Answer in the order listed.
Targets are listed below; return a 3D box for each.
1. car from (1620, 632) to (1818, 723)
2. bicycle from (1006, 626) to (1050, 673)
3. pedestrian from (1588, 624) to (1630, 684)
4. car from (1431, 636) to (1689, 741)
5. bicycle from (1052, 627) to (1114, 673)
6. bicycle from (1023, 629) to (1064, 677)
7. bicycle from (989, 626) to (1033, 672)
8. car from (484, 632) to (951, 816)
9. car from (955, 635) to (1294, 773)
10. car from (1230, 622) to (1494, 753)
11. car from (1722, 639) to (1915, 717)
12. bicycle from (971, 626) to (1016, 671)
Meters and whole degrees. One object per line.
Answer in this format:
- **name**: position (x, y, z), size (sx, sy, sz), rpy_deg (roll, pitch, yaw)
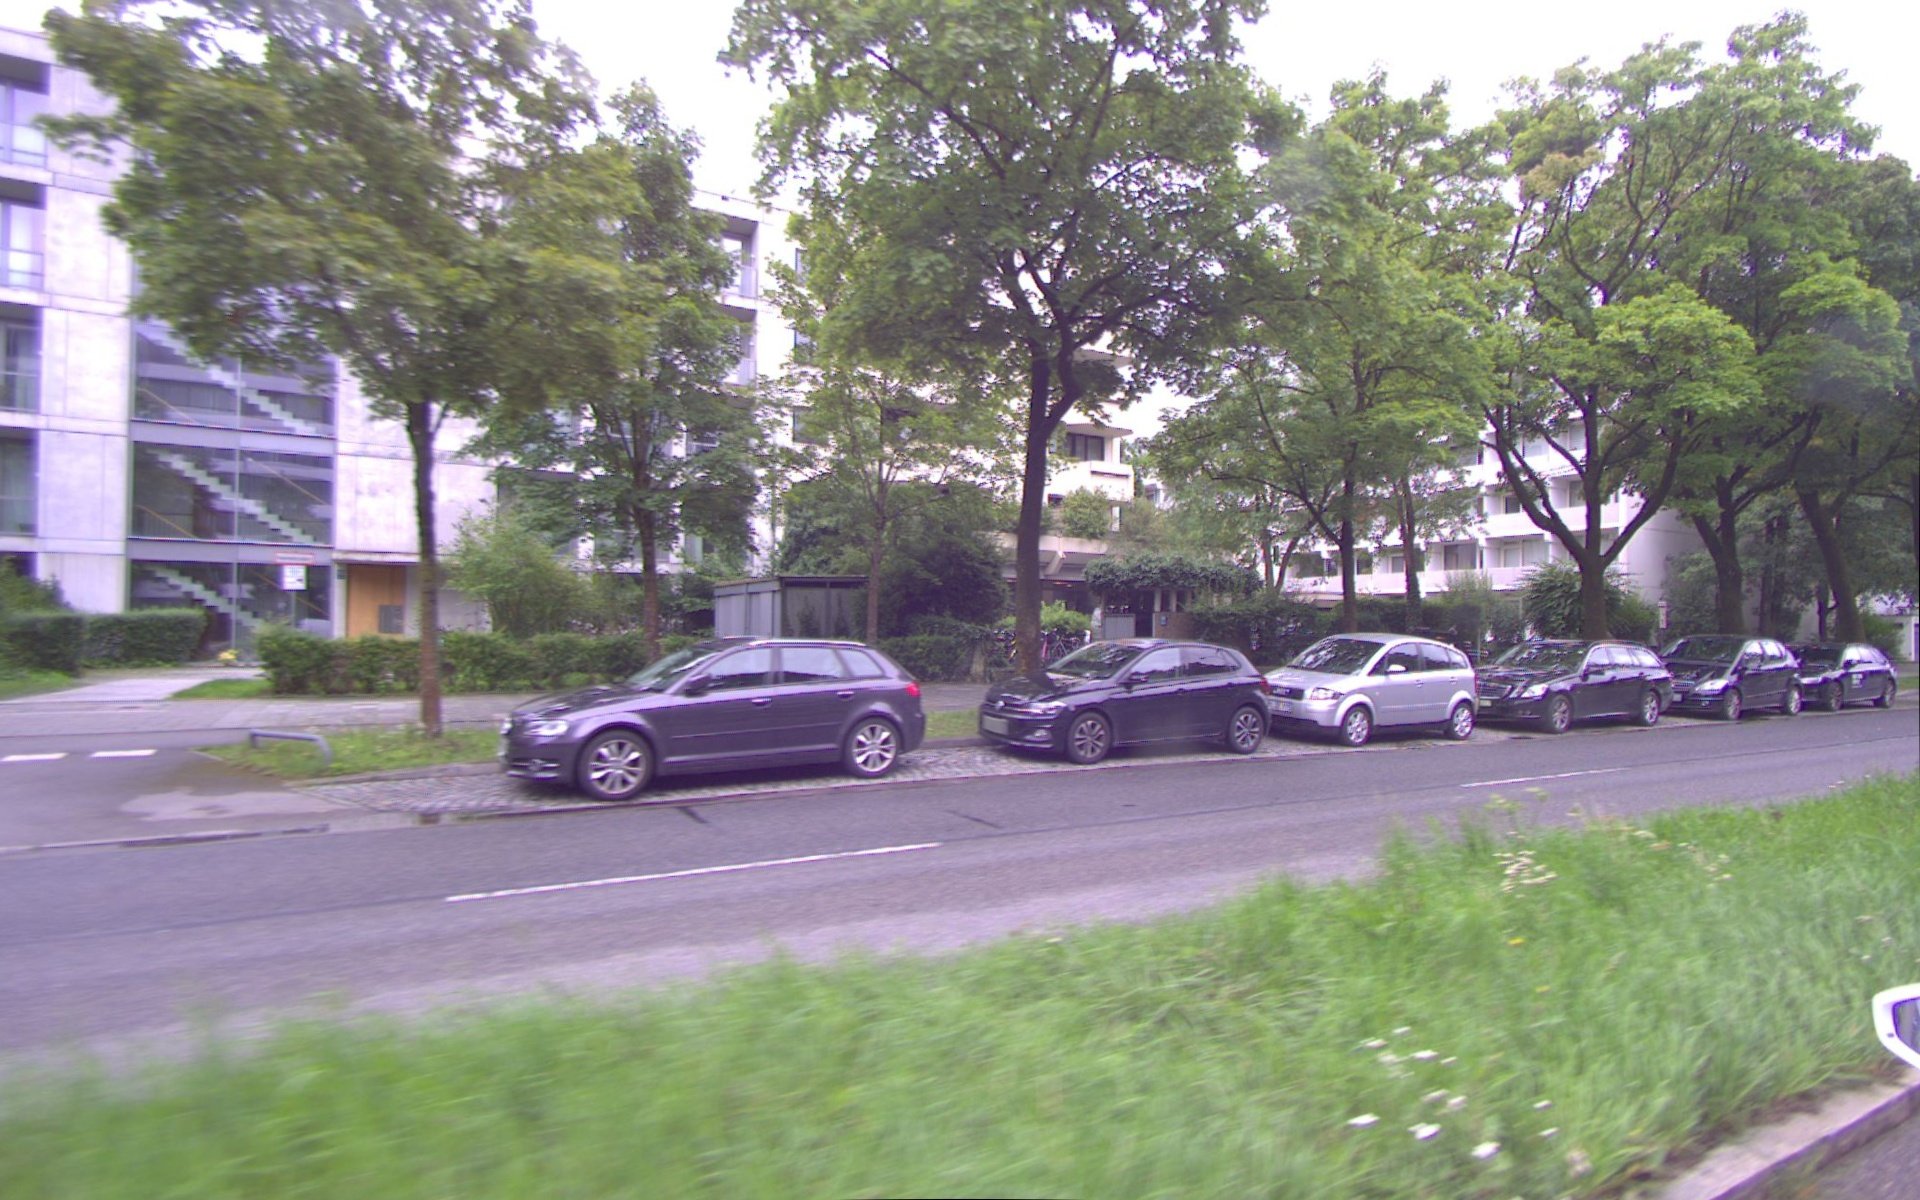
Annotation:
- **car**: position (15.502, 1.510, 20.485), size (4.159, 1.618, 1.678), rpy_deg (1, 1, -29)
- **bicycle**: position (1.900, 1.355, 27.839), size (0.522, 1.243, 1.859), rpy_deg (0, -2, 27)
- **pedestrian**: position (18.390, 1.510, 28.471), size (0.602, 1.678, 0.844), rpy_deg (1, -2, -32)
- **car**: position (10.643, 1.468, 17.718), size (4.975, 1.545, 1.707), rpy_deg (1, 1, -31)
- **bicycle**: position (3.401, 1.372, 27.850), size (0.527, 1.243, 1.840), rpy_deg (2, -2, -40)
- **bicycle**: position (2.277, 1.421, 27.209), size (0.522, 1.243, 1.861), rpy_deg (0, -2, 23)
- **bicycle**: position (1.454, 1.370, 28.239), size (0.522, 1.243, 1.859), rpy_deg (0, -2, 27)
- **car**: position (-2.359, 1.101, 10.163), size (4.312, 1.442, 1.572), rpy_deg (1, 1, -31)
- **car**: position (2.149, 1.218, 12.831), size (4.141, 1.442, 1.618), rpy_deg (1, 1, -29)
- **car**: position (6.064, 1.226, 15.094), size (3.821, 1.670, 1.618), rpy_deg (1, 1, -29)
- **car**: position (19.564, 1.693, 22.838), size (4.888, 1.533, 1.752), rpy_deg (1, 1, -29)
- **bicycle**: position (0.965, 1.358, 28.610), size (0.522, 1.243, 1.859), rpy_deg (0, -2, 27)
